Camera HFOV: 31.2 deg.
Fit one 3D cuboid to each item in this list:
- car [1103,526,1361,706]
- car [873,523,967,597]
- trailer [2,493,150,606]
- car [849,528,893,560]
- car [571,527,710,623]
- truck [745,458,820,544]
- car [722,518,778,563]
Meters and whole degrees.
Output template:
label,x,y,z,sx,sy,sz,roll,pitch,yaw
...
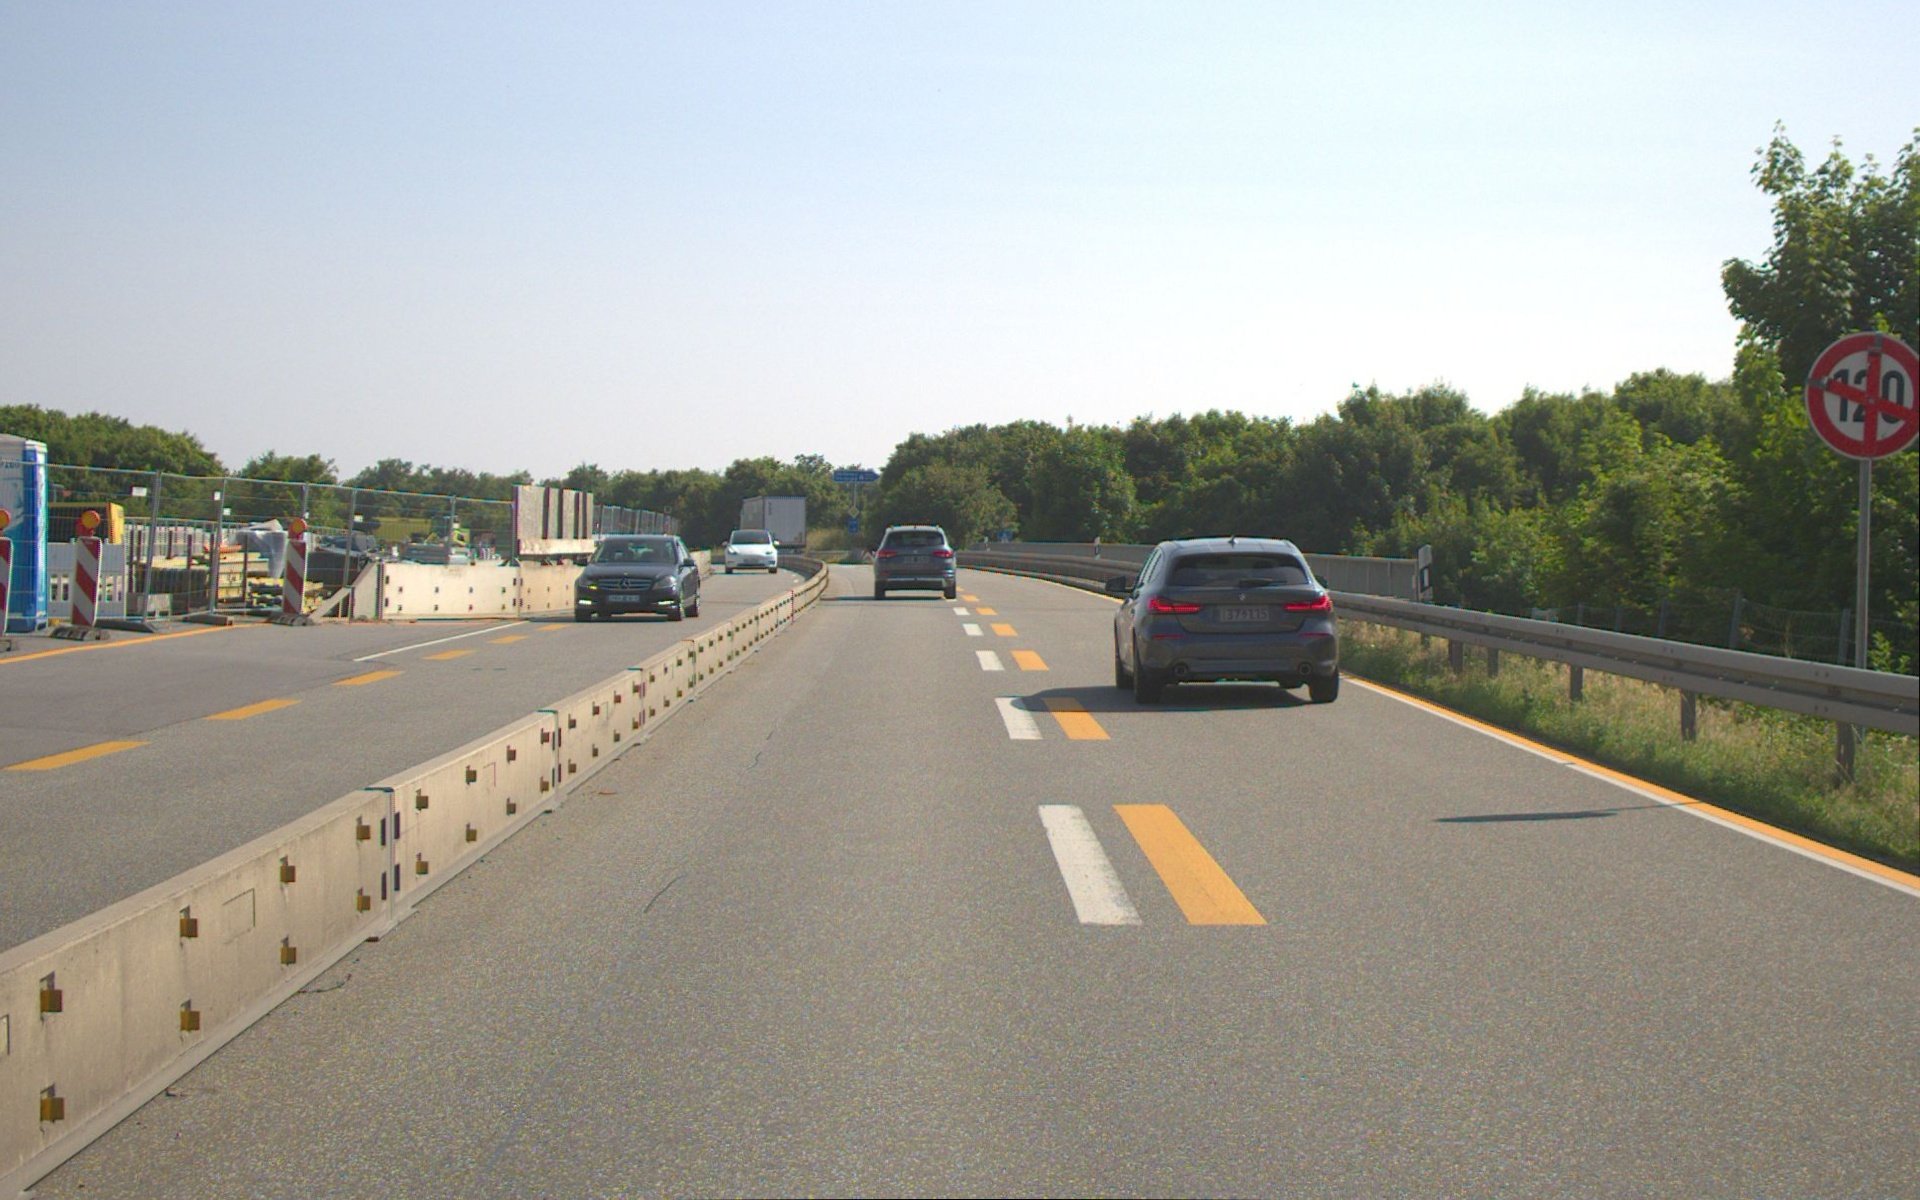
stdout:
label,x,y,z,sx,sy,sz,roll,pitch,yaw
car,2.400,0.096,31.238,1.920,1.488,4.001,1,1,-1
car,-0.848,-0.904,75.943,1.993,1.561,4.000,0,2,0
trailer,-13.632,-0.794,53.181,1.719,1.643,3.535,2,1,-7
car,-5.022,-3.153,193.139,1.993,1.682,4.001,1,1,-8
car,-5.364,-0.450,58.218,1.859,1.468,4.685,2,2,0
truck,-10.774,-5.970,207.280,3.760,4.894,14.140,1,1,-6
car,-7.842,-2.238,128.669,1.982,1.645,4.549,1,1,-3
